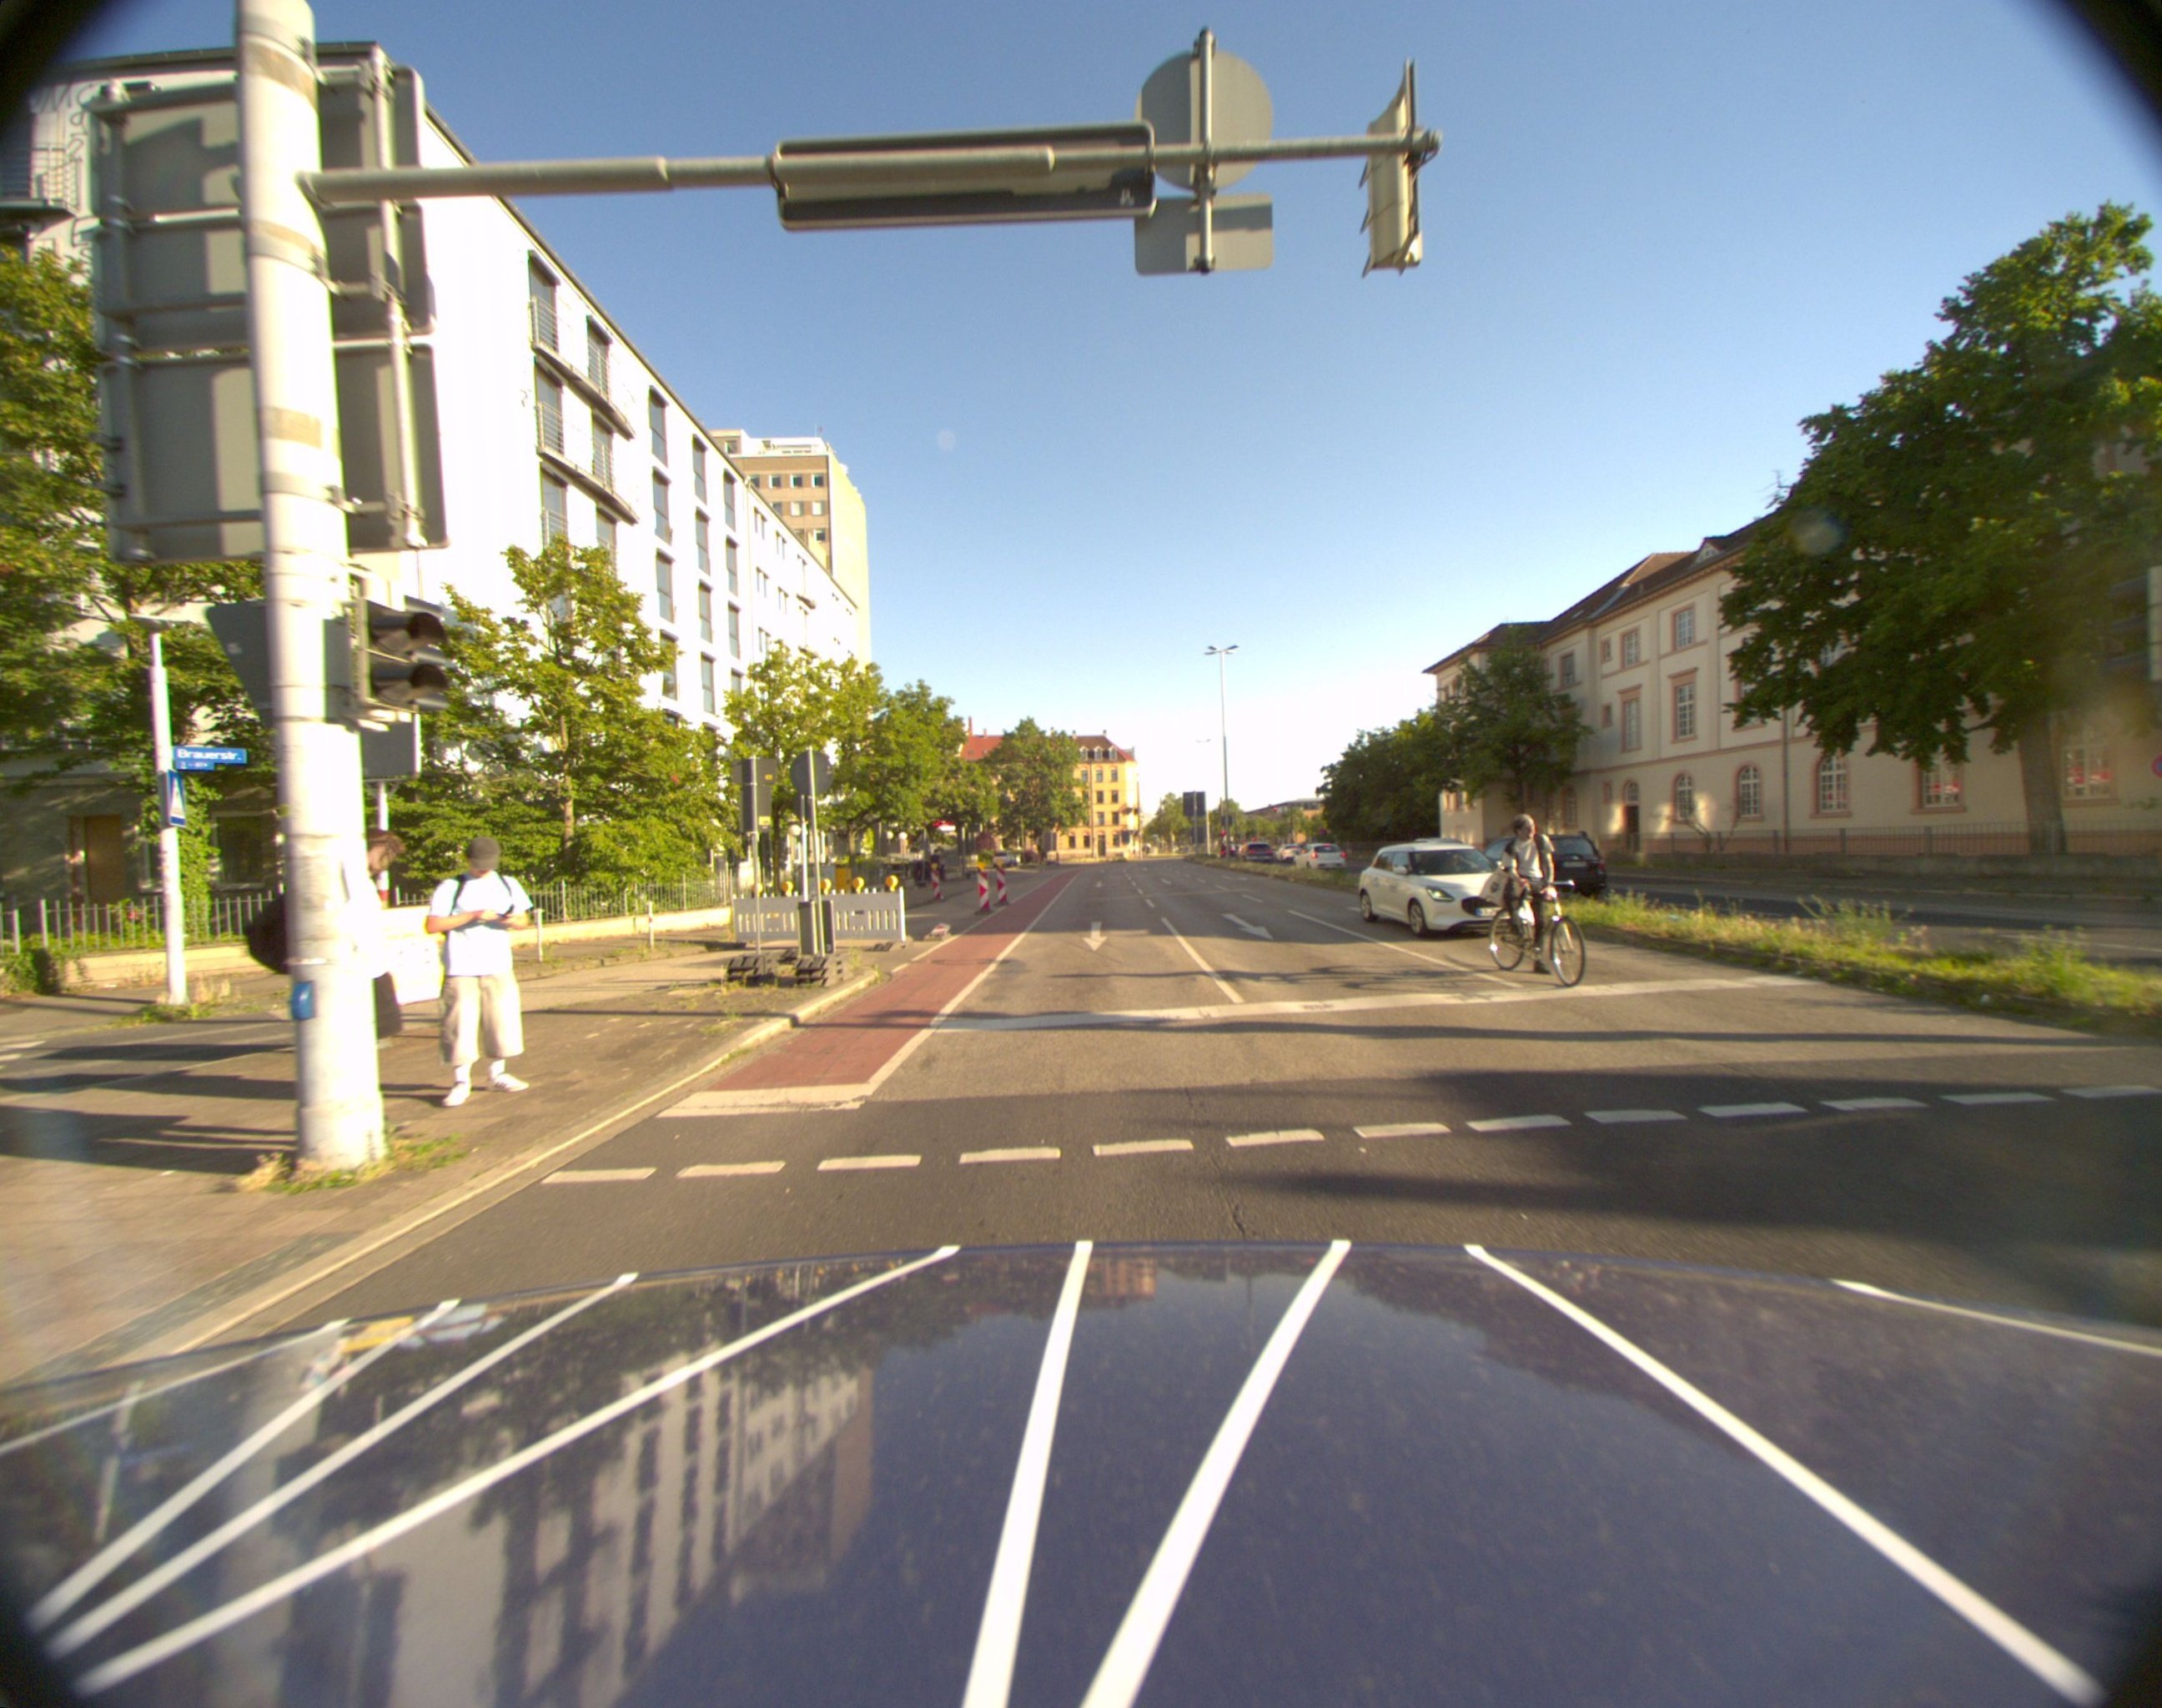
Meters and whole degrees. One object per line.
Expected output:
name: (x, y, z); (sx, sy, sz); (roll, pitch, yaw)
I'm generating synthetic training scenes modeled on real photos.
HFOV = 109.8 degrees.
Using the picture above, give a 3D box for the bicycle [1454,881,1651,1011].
bicycle: (4.969, 0.911, 8.223); (0.833, 1.101, 2.080); (-2, 1, 1)

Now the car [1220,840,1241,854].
car: (17.230, -0.809, 87.606); (2.046, 1.545, 4.296); (-2, 1, 15)

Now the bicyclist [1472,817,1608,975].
bicyclist: (4.973, 0.427, 8.312); (0.838, 1.594, 1.023); (-2, 1, 1)

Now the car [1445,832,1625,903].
car: (10.687, 0.261, 18.307); (1.764, 1.454, 4.292); (-2, 1, 1)

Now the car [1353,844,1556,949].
car: (6.177, 0.613, 13.077); (1.764, 1.490, 3.708); (-2, 1, 3)

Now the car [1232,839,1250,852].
car: (20.519, -1.044, 97.378); (2.046, 1.545, 4.296); (-2, 1, 15)

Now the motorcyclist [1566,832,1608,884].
motorcyclist: (13.956, 0.101, 20.989); (0.620, 1.398, 0.756); (-2, 1, -1)

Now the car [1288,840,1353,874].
car: (11.446, 0.111, 36.562); (1.764, 1.454, 4.292); (-2, 1, 1)

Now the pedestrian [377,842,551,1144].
pedestrian: (-4.169, 0.864, 5.155); (0.576, 1.866, 0.711); (-1, 1, 36)

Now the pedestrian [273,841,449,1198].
pedestrian: (-4.079, 0.870, 4.353); (0.500, 1.866, 0.601); (-3, 1, -26)

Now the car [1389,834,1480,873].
car: (14.573, -0.036, 31.598); (1.764, 1.454, 4.292); (-2, 1, 1)

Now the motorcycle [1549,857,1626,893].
motorcycle: (13.959, 0.560, 21.032); (0.640, 0.874, 2.161); (-2, 1, -1)

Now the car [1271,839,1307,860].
car: (16.850, -0.375, 61.828); (1.764, 1.626, 4.292); (-2, 1, 1)

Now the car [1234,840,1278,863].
car: (12.023, -0.172, 52.522); (2.048, 1.454, 4.292); (-2, 1, 1)
